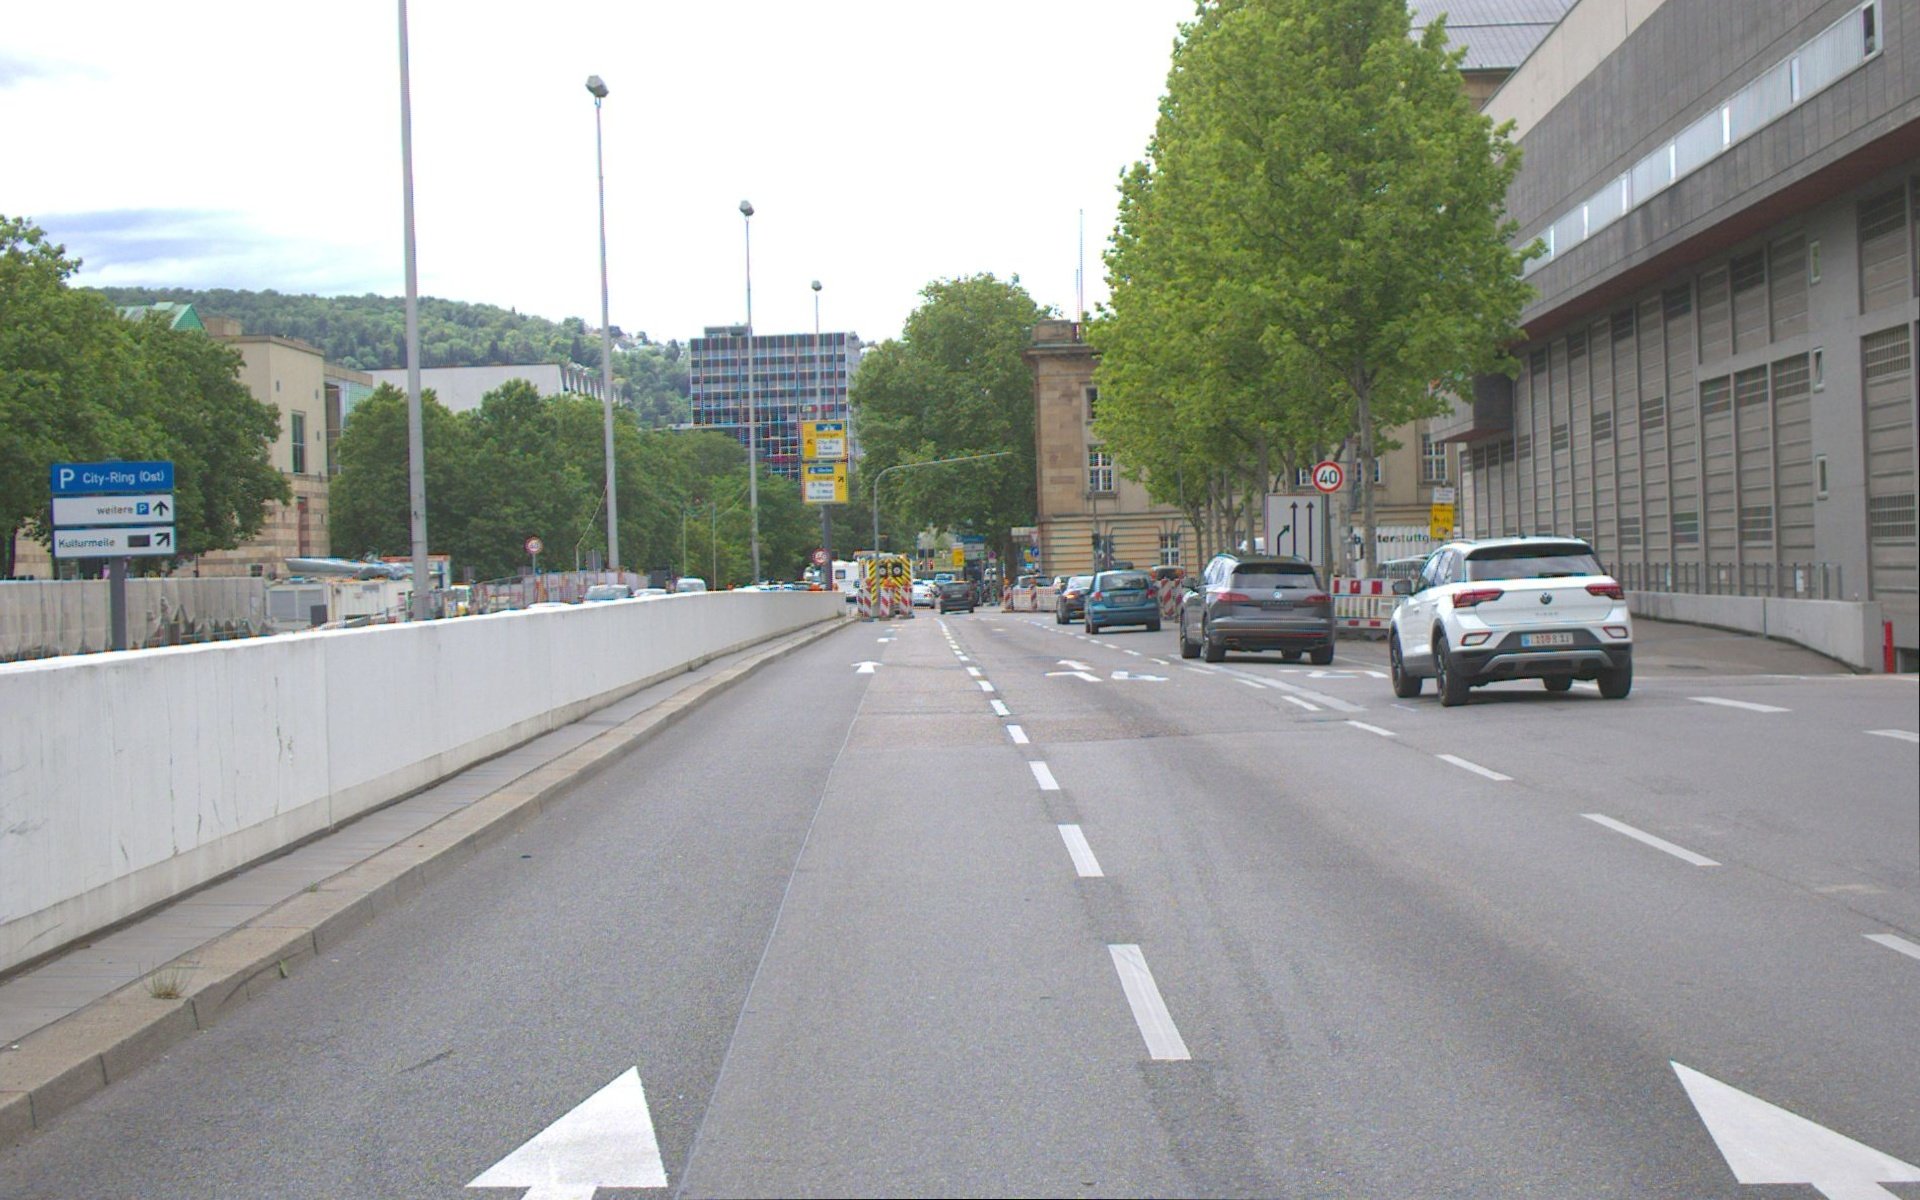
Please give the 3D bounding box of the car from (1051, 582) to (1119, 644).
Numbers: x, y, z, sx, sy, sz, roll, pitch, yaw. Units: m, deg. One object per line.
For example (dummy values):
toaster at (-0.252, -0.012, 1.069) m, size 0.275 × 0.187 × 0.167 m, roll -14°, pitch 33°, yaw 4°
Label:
car at (3.810, 0.384, 104.049) m, size 1.823 × 1.735 × 4.479 m, roll -2°, pitch 0°, yaw 4°

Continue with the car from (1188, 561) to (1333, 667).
car at (4.657, 0.219, 53.855) m, size 1.823 × 1.562 × 4.480 m, roll 1°, pitch 0°, yaw 0°

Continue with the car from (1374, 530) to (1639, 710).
car at (5.287, 0.194, 33.764) m, size 1.750 × 1.562 × 4.331 m, roll -3°, pitch 0°, yaw -1°

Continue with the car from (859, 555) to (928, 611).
car at (-2.996, -0.792, 156.100) m, size 2.582 × 2.366 × 5.525 m, roll -2°, pitch 0°, yaw 4°

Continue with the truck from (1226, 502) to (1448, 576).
truck at (17.583, -2.855, 160.709) m, size 10.029 × 3.040 × 2.569 m, roll -2°, pitch -1°, yaw 1°

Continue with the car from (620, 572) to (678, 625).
car at (-12.863, -0.061, 142.300) m, size 1.993 × 2.006 × 4.001 m, roll -2°, pitch 2°, yaw -1°

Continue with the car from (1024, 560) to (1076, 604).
car at (3.741, -0.764, 142.272) m, size 1.823 × 1.735 × 4.479 m, roll -2°, pitch 0°, yaw 4°

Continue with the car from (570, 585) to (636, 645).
car at (-13.061, 0.521, 125.904) m, size 1.993 × 2.006 × 4.001 m, roll -2°, pitch 2°, yaw -1°

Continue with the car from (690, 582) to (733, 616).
car at (-12.376, -0.032, 171.544) m, size 1.750 × 1.562 × 3.377 m, roll -4°, pitch 0°, yaw 1°

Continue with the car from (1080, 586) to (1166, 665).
car at (3.883, 0.580, 81.378) m, size 1.823 × 1.735 × 4.479 m, roll -2°, pitch 0°, yaw 4°
